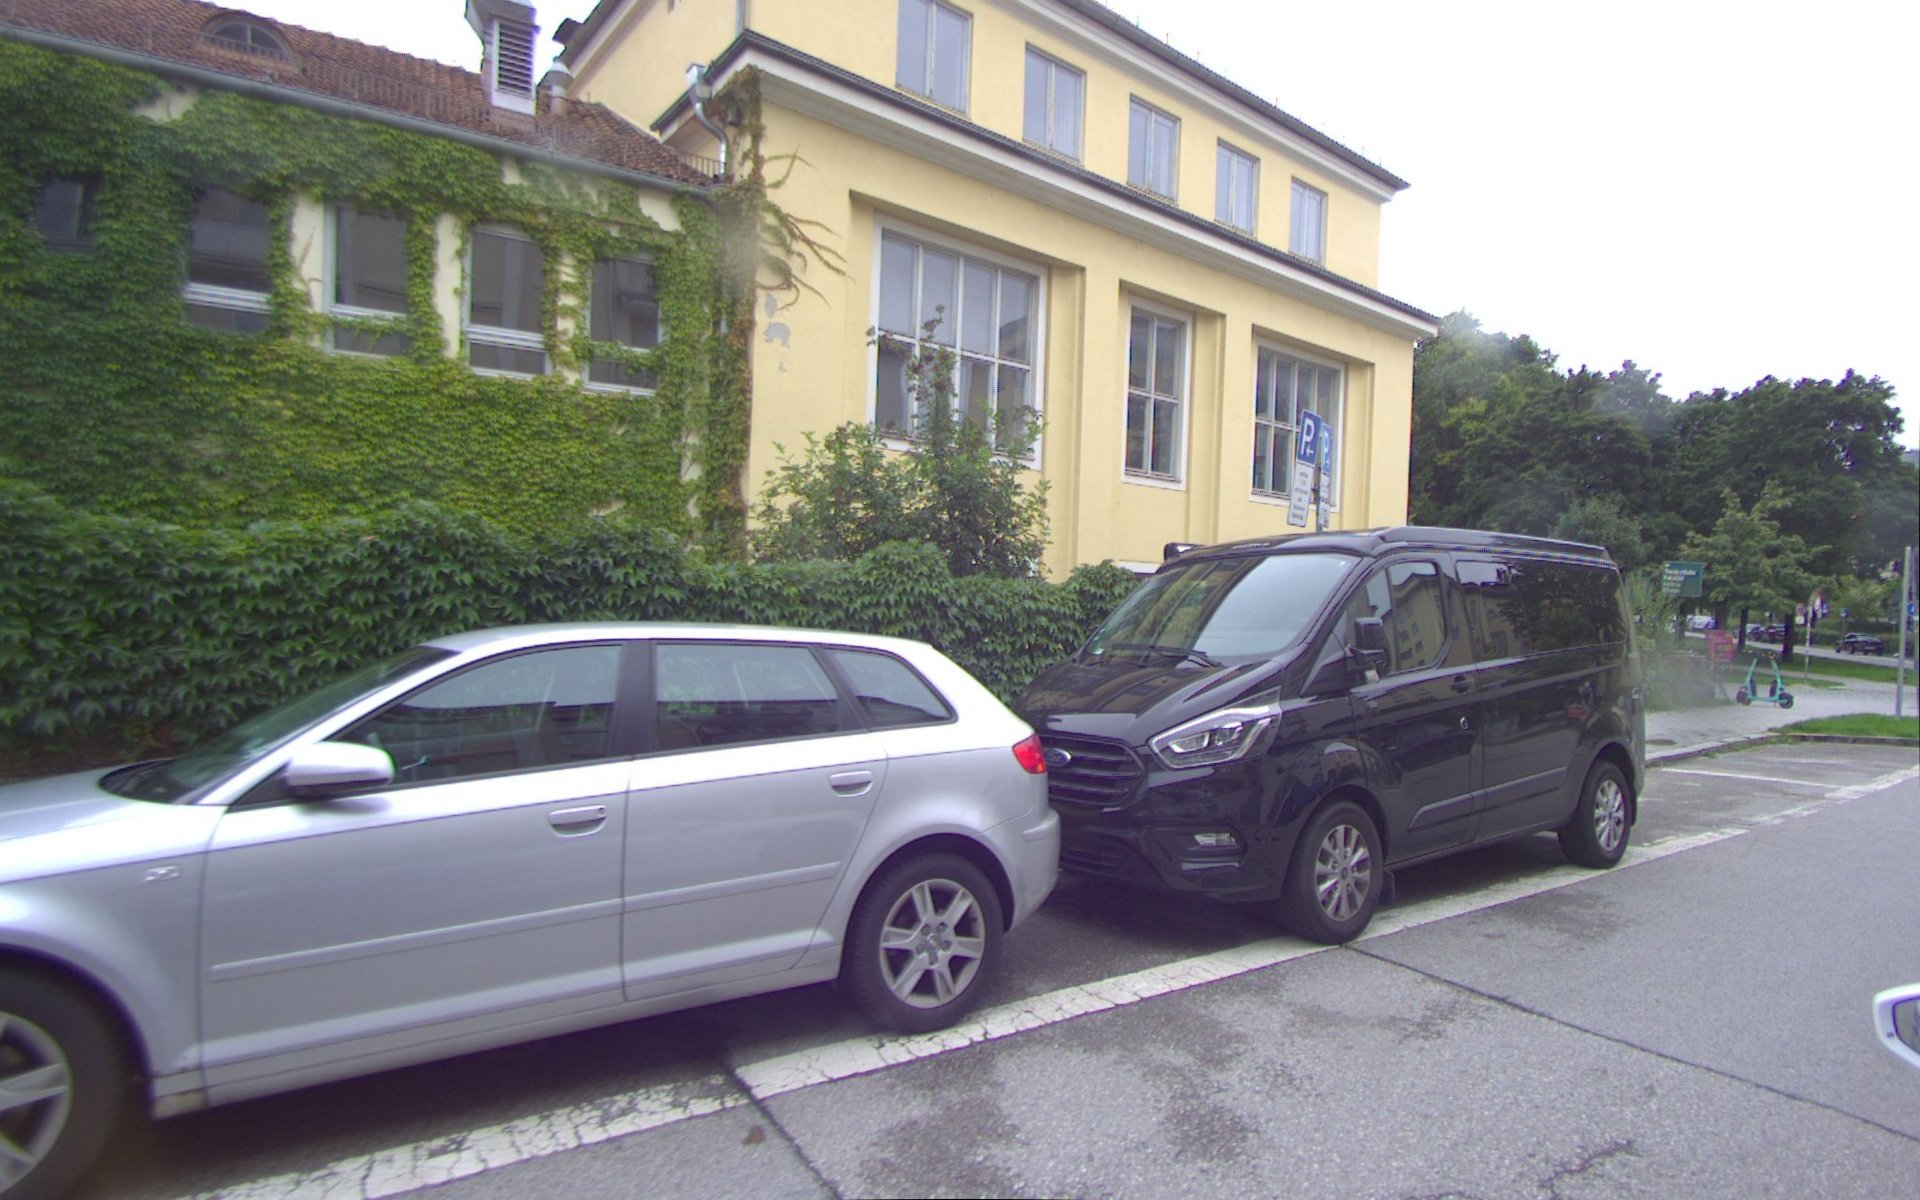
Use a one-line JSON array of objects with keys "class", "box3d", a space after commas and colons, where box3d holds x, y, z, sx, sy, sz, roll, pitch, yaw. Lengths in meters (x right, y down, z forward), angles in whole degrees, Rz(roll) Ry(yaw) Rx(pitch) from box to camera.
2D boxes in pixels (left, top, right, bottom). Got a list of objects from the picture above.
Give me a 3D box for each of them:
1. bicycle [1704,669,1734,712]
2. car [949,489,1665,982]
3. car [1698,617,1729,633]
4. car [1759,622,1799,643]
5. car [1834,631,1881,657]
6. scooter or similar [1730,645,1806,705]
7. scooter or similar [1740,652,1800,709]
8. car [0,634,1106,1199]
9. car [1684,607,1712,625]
[{"class": "bicycle", "box3d": [17.375, 2.056, 23.007, 0.427, 0.905, 1.327, 2, -1, 33]}, {"class": "car", "box3d": [2.338, 0.621, 6.230, 4.577, 2.005, 1.913, 1, -2, -36]}, {"class": "car", "box3d": [82.582, 2.772, 110.120, 1.963, 1.622, 4.249, 2, 0, 27]}, {"class": "car", "box3d": [70.511, 2.796, 86.506, 1.765, 1.702, 3.995, 2, 0, 27]}, {"class": "car", "box3d": [61.449, 2.989, 68.788, 1.622, 1.579, 3.553, 2, 0, 29]}, {"class": "scooter or similar", "box3d": [18.306, 1.685, 22.776, 0.389, 1.260, 1.256, 3, -1, -26]}, {"class": "scooter or similar", "box3d": [18.801, 1.869, 23.316, 1.033, 1.228, 0.439, 3, 0, -6]}, {"class": "car", "box3d": [-1.558, 0.838, 3.555, 3.957, 1.383, 1.698, 1, -3, -32]}, {"class": "car", "box3d": [87.063, 1.873, 118.521, 2.036, 1.992, 4.967, 2, 0, 30]}]
